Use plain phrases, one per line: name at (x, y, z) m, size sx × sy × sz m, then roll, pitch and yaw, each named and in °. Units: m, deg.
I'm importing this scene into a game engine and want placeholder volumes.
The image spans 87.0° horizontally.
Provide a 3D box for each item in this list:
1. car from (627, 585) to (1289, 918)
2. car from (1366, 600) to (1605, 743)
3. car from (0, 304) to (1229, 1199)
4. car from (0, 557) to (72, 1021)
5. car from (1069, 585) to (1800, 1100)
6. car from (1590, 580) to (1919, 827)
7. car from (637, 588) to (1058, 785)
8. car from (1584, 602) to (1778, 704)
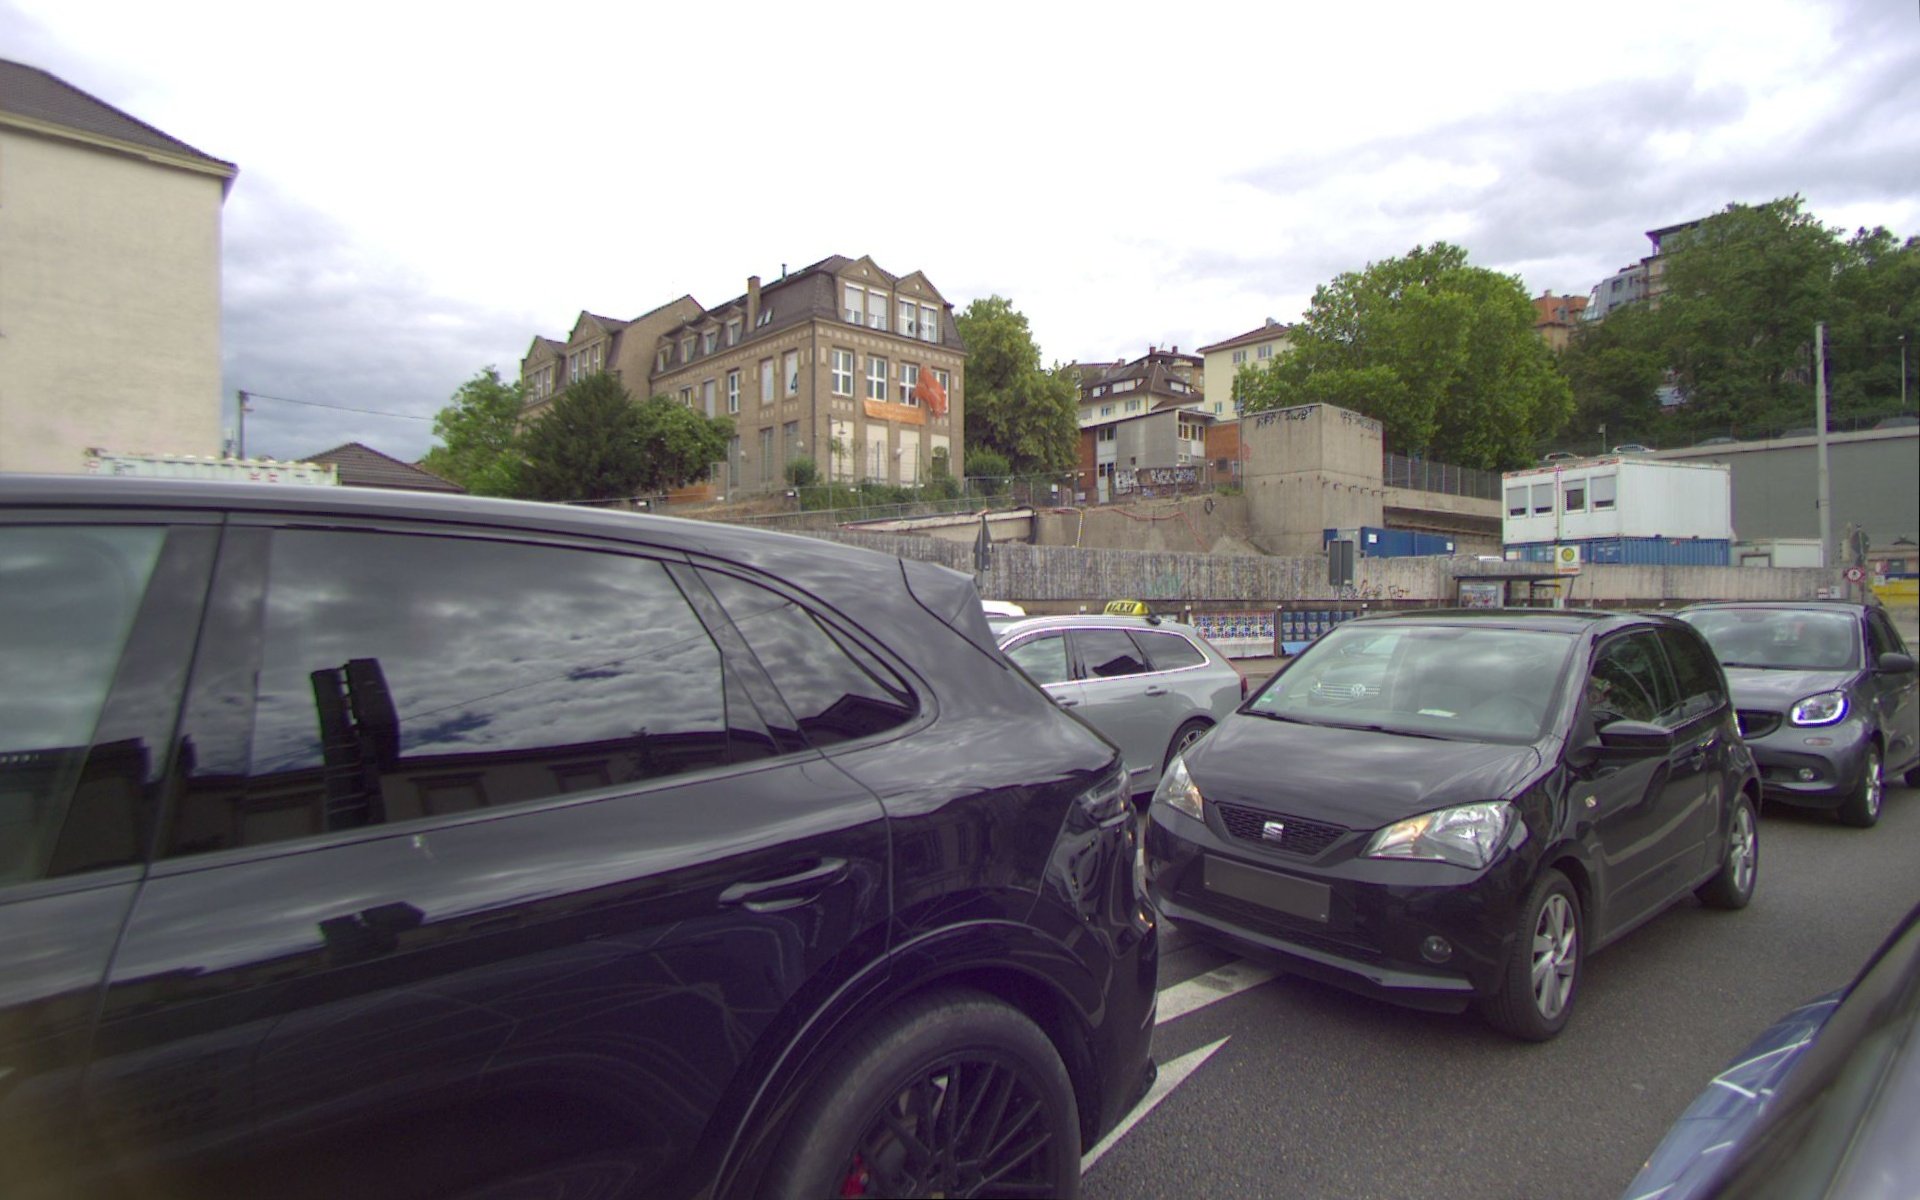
car at (0.261, 0.727, 7.269) m, size 4.725 × 1.645 × 1.827 m, roll -1°, pitch 0°, yaw -41°
car at (6.280, 0.746, 12.039) m, size 2.667 × 1.449 × 1.664 m, roll -1°, pitch 0°, yaw -41°
car at (-1.629, 0.575, 1.608) m, size 4.406 × 1.737 × 1.827 m, roll -1°, pitch 0°, yaw -41°
car at (-5.312, 0.685, 3.046) m, size 3.930 × 1.645 × 1.679 m, roll -1°, pitch 0°, yaw -41°
car at (2.428, 0.675, 4.799) m, size 3.636 × 1.476 × 1.827 m, roll -1°, pitch 0°, yaw -41°
car at (6.700, 0.657, 8.193) m, size 3.511 × 1.563 × 1.720 m, roll 0°, pitch 0°, yaw -40°
car at (-1.015, 0.703, 10.486) m, size 4.136 × 1.645 × 1.679 m, roll -1°, pitch 0°, yaw -41°
car at (11.499, 0.743, 16.063) m, size 3.740 × 1.383 × 1.679 m, roll -1°, pitch 0°, yaw -41°
